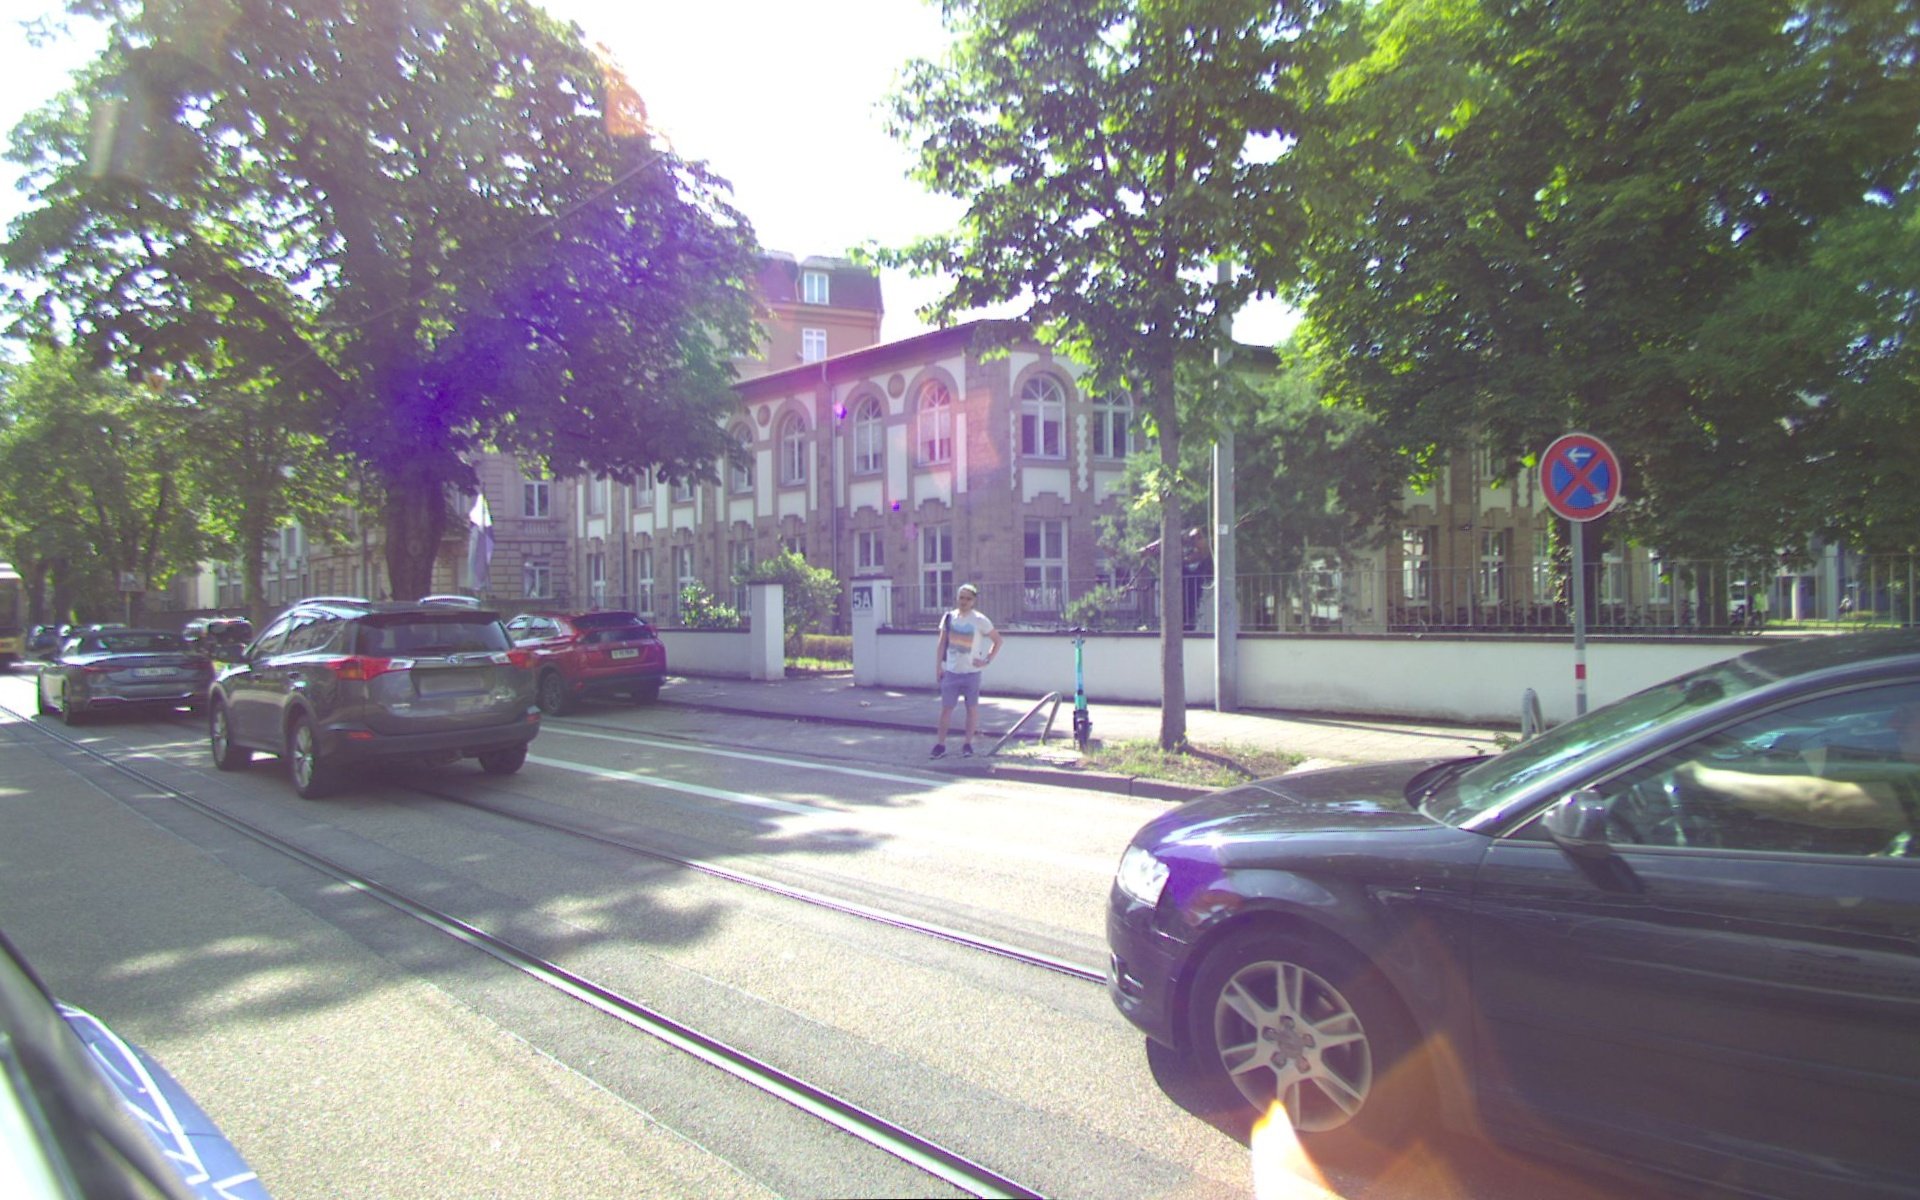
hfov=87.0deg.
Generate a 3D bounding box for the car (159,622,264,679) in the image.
[{"bbox_3d":[-24.255,1.581,32.750,4.329,1.653,1.788,-1,1,41],"label":"car"}]

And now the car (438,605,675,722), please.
[{"bbox_3d":[-6.975,0.980,17.241,4.718,1.678,1.732,-1,1,41],"label":"car"}]

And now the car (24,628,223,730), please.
[{"bbox_3d":[-13.472,1.161,16.211,4.424,1.399,1.780,-2,-2,41],"label":"car"}]

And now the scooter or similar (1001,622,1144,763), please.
[{"bbox_3d":[1.180,0.898,10.445,0.854,1.289,1.325,-1,1,40],"label":"scooter or similar"}]

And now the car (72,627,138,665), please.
[{"bbox_3d":[-38.021,2.019,44.973,3.806,1.496,1.637,-1,1,41],"label":"car"}]

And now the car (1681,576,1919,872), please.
[{"bbox_3d":[6.543,0.616,5.157,4.586,1.527,1.732,-1,1,39],"label":"car"}]

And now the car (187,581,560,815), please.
[{"bbox_3d":[-5.763,0.777,9.691,4.389,1.740,1.806,-2,-1,42],"label":"car"}]

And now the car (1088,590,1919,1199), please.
[{"bbox_3d":[2.447,0.693,2.393,3.997,1.386,1.705,-1,-2,41],"label":"car"}]

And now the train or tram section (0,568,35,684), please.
[{"bbox_3d":[-33.572,0.834,33.649,14.103,3.381,2.624,-1,-3,42],"label":"train or tram section"}]

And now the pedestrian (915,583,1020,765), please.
[{"bbox_3d":[0.086,0.732,10.466,0.750,1.780,0.782,-1,1,32],"label":"pedestrian"}]
